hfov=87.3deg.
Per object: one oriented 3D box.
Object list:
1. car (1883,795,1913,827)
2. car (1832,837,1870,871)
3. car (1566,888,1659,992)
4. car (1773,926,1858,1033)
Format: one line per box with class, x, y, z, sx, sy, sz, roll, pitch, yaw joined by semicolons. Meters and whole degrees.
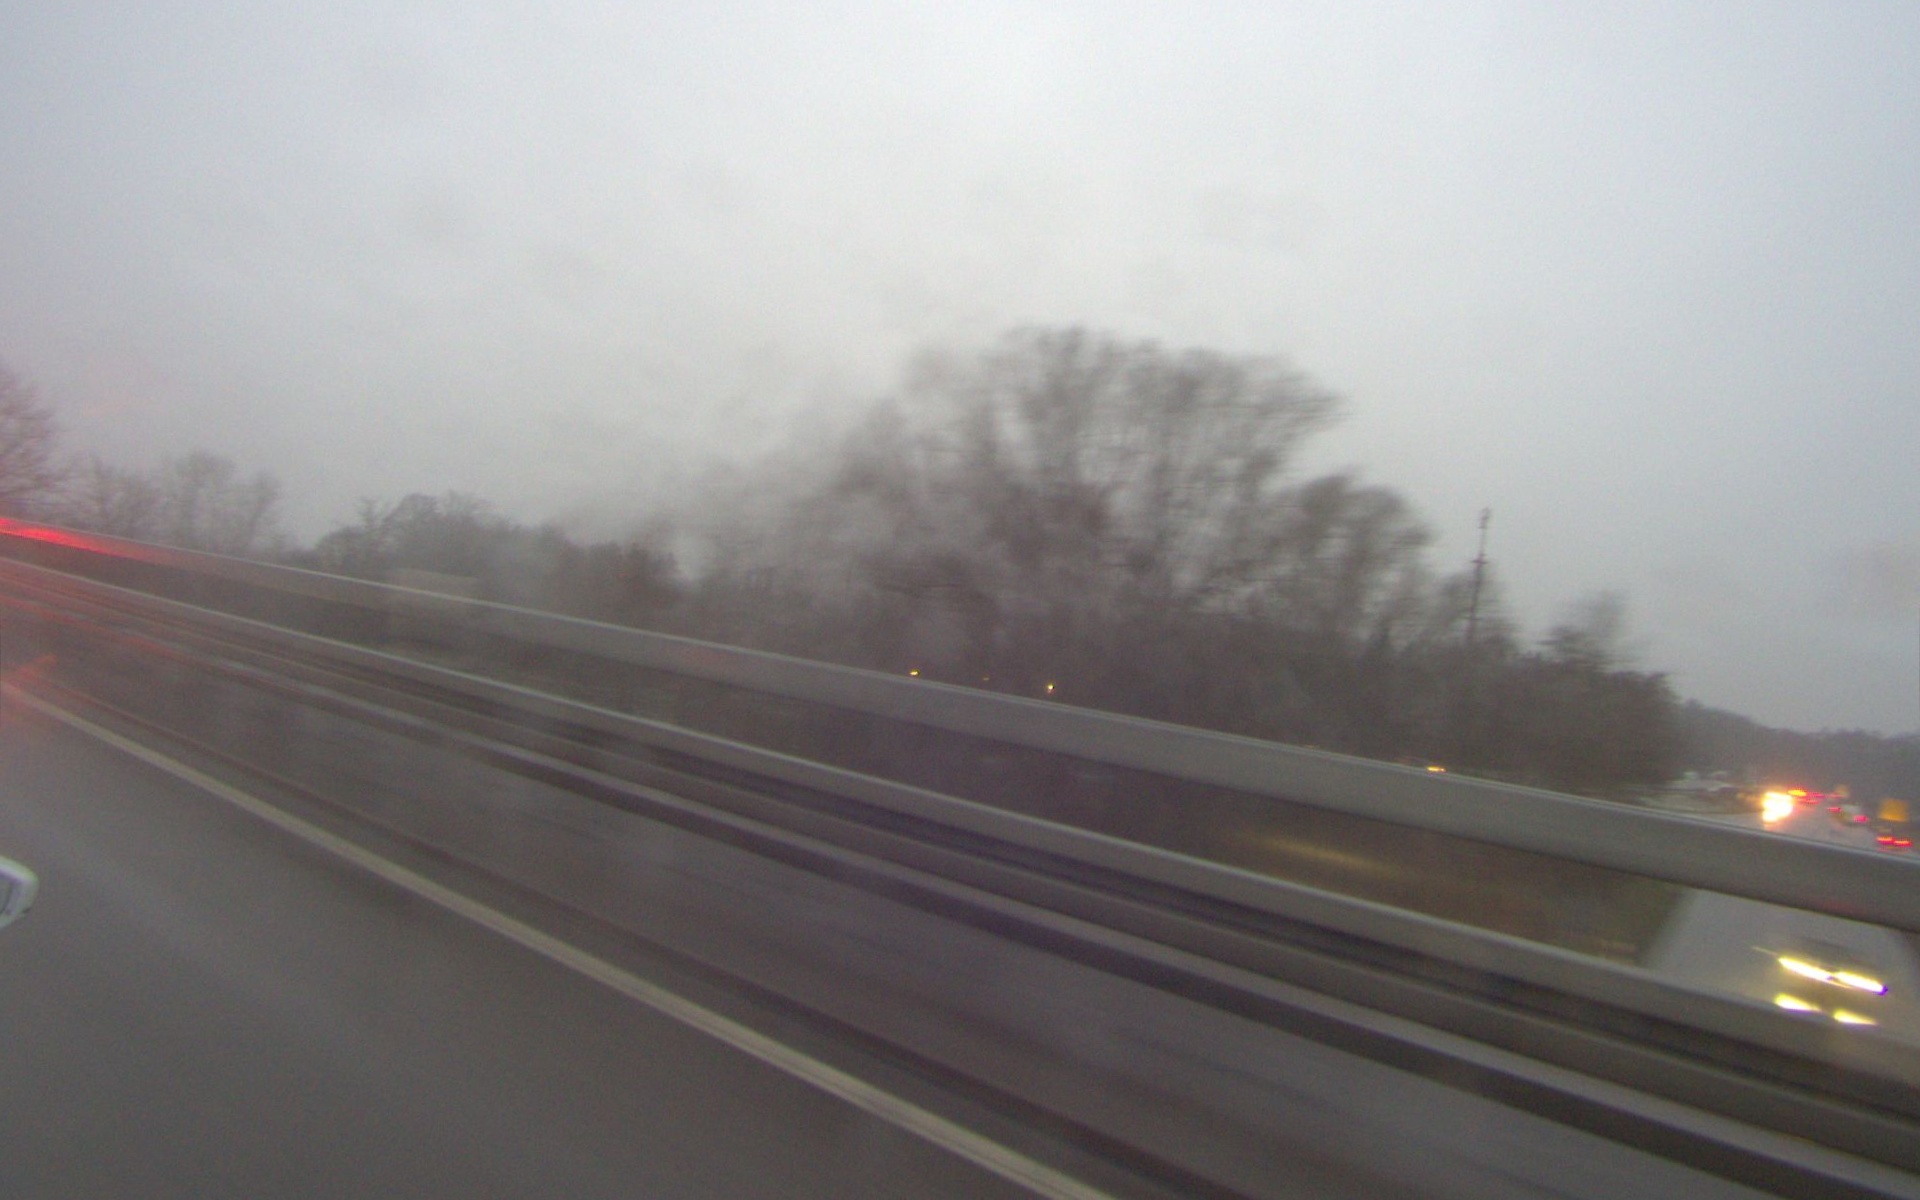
car;128.614;28.882;137.994;2.512;3.424;6.630;7;-1;41
car;74.823;21.285;84.441;1.973;2.036;5.687;8;-2;44
car;22.274;11.409;34.204;1.970;2.037;5.694;7;-1;38
car;30.287;13.329;35.732;1.971;2.038;5.690;7;-1;40
